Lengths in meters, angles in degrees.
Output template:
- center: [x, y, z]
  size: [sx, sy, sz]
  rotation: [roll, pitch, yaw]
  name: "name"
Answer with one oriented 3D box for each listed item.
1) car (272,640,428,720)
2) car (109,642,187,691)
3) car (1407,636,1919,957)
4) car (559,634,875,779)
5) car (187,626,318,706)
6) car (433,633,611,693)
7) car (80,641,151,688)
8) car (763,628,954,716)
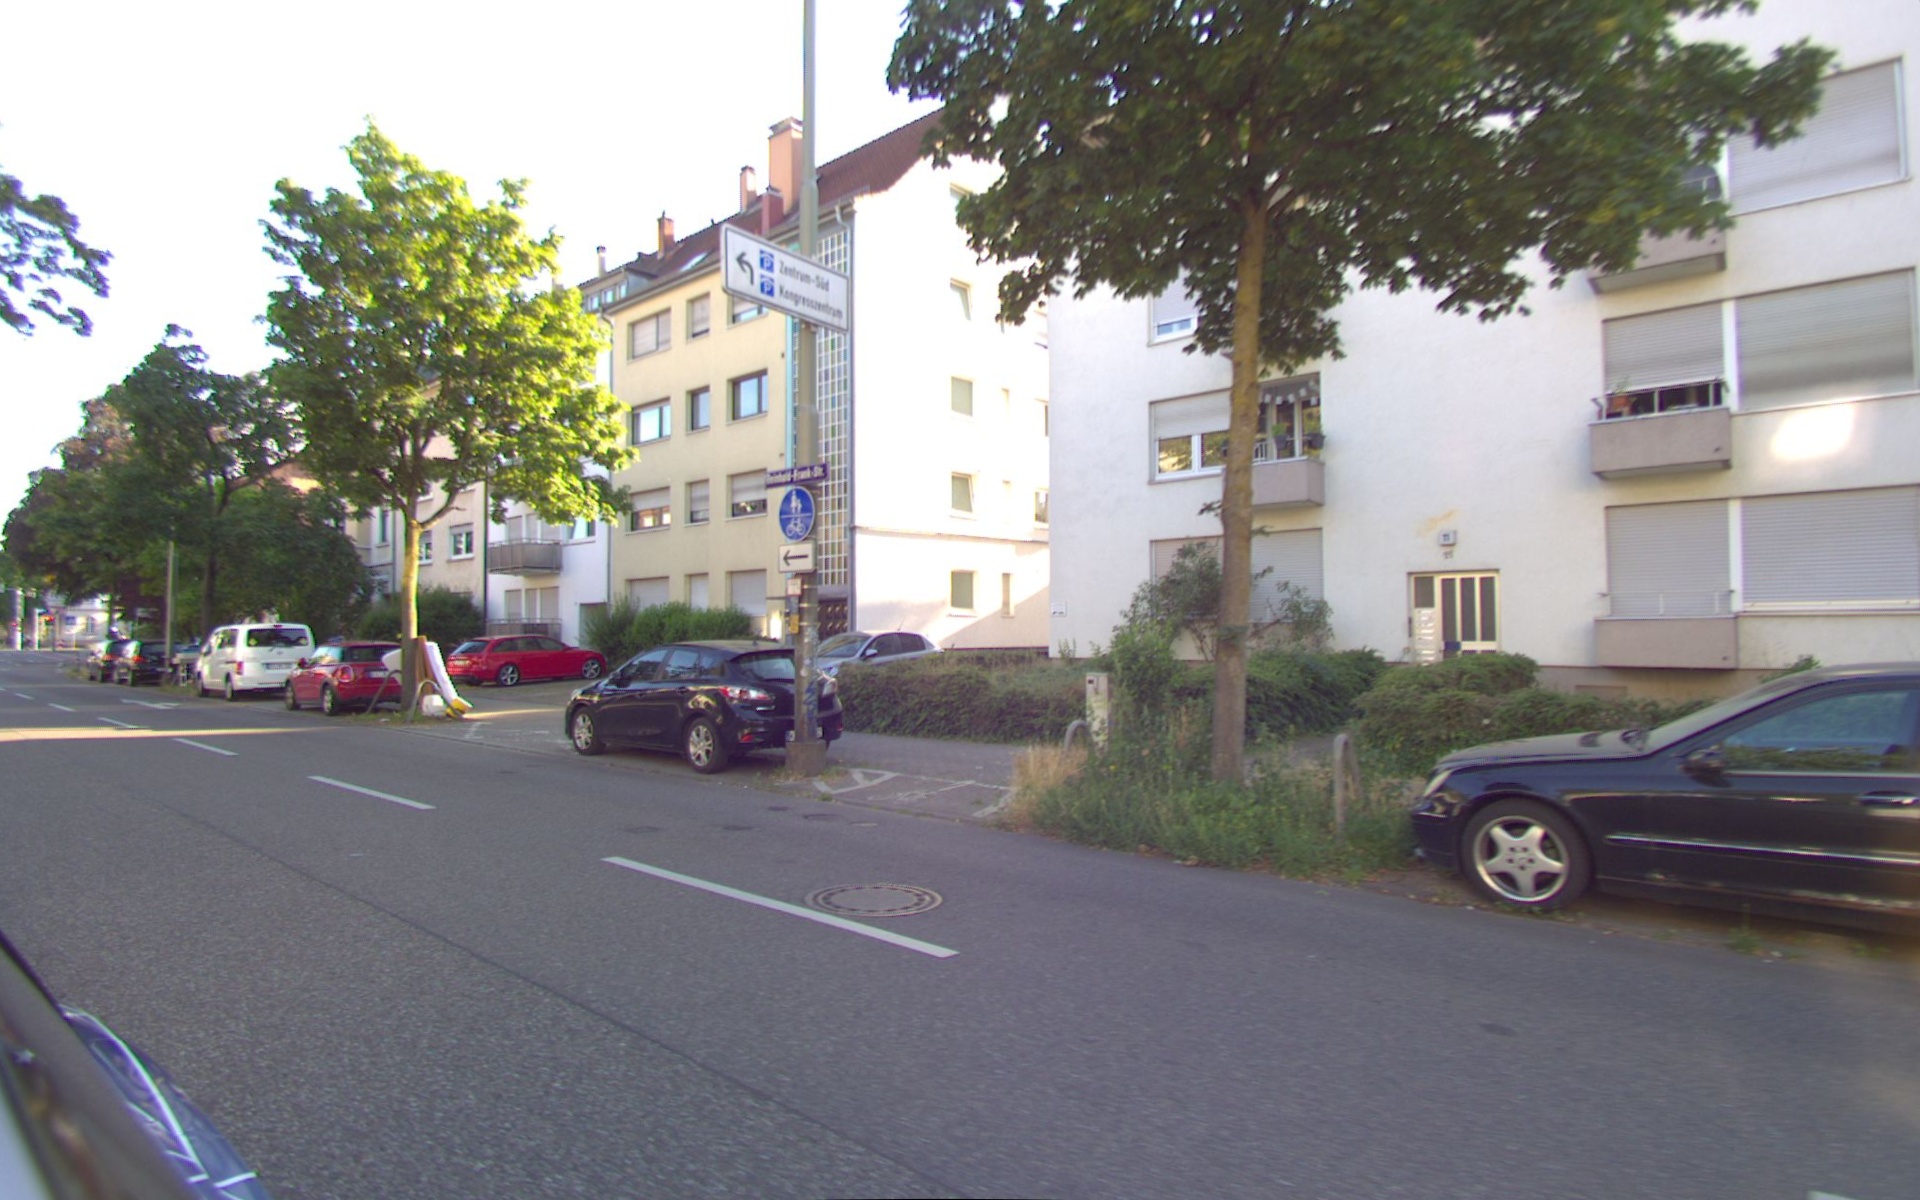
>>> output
- center: [-12.542, 1.561, 20.741]
  size: [3.634, 1.475, 1.717]
  rotation: [-2, -2, 41]
  name: "car"
- center: [-26.186, 2.091, 32.596]
  size: [3.682, 1.416, 1.388]
  rotation: [-2, 0, 42]
  name: "car"
- center: [4.839, 0.896, 5.106]
  size: [4.441, 1.418, 1.620]
  rotation: [-2, -3, 41]
  name: "car"
- center: [-3.095, 1.185, 12.511]
  size: [3.998, 1.497, 1.838]
  rotation: [-2, -3, 41]
  name: "car"
- center: [-17.750, 1.587, 25.334]
  size: [4.189, 1.823, 1.717]
  rotation: [-2, -3, 41]
  name: "car"
- center: [-12.420, 1.729, 28.982]
  size: [1.735, 1.416, 4.516]
  rotation: [-2, 0, 31]
  name: "car"
- center: [-29.401, 2.201, 35.205]
  size: [3.682, 1.475, 1.388]
  rotation: [-2, 0, 42]
  name: "car"
- center: [-1.893, 1.314, 19.471]
  size: [1.686, 1.535, 3.422]
  rotation: [-2, -3, 42]
  name: "car"
